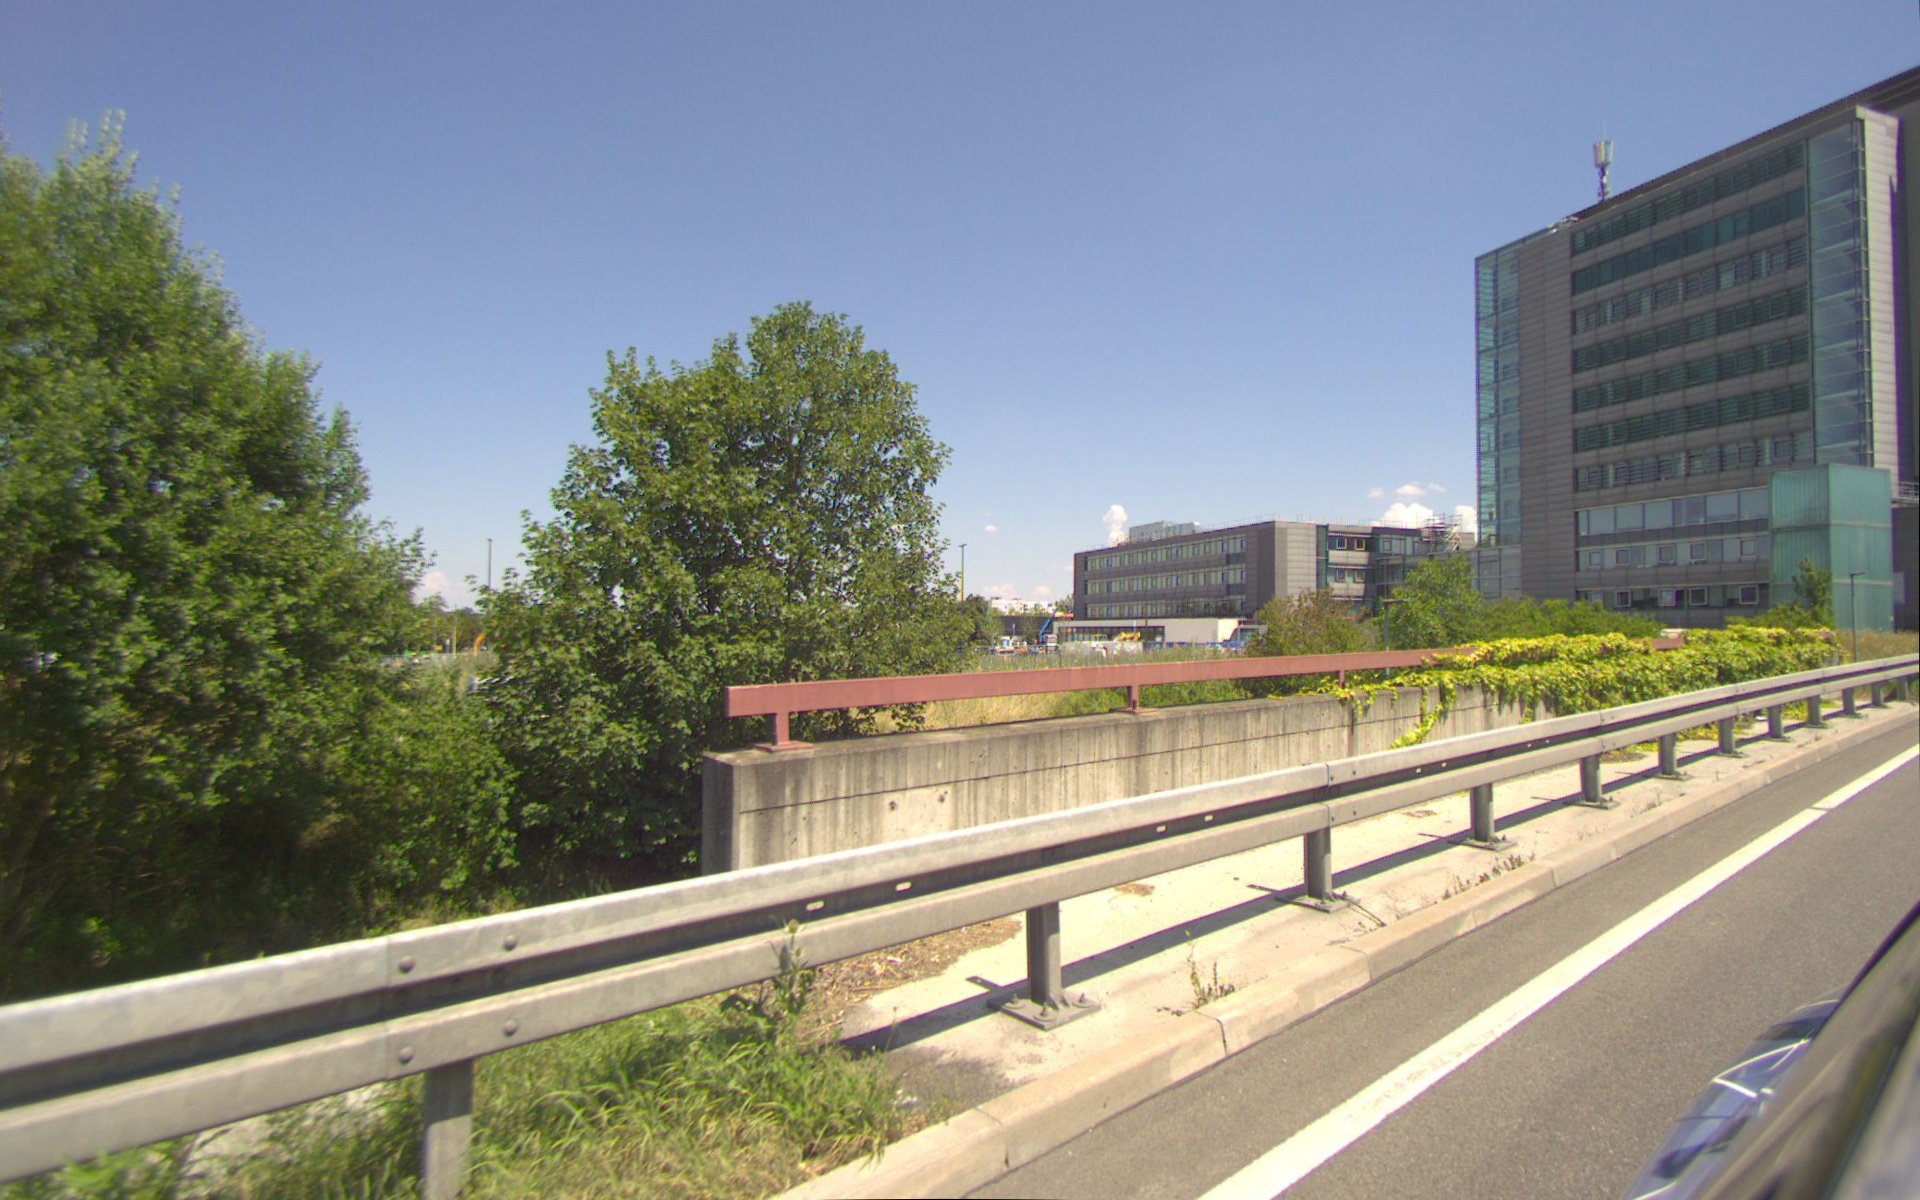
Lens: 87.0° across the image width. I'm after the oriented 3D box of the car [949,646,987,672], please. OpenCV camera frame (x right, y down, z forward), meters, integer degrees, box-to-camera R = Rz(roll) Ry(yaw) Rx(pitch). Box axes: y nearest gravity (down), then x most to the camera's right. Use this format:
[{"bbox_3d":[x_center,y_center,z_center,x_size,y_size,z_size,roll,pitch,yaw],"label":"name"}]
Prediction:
[{"bbox_3d":[0.669,4.892,84.420,1.958,2.040,4.006,1,-3,-18],"label":"car"}]
